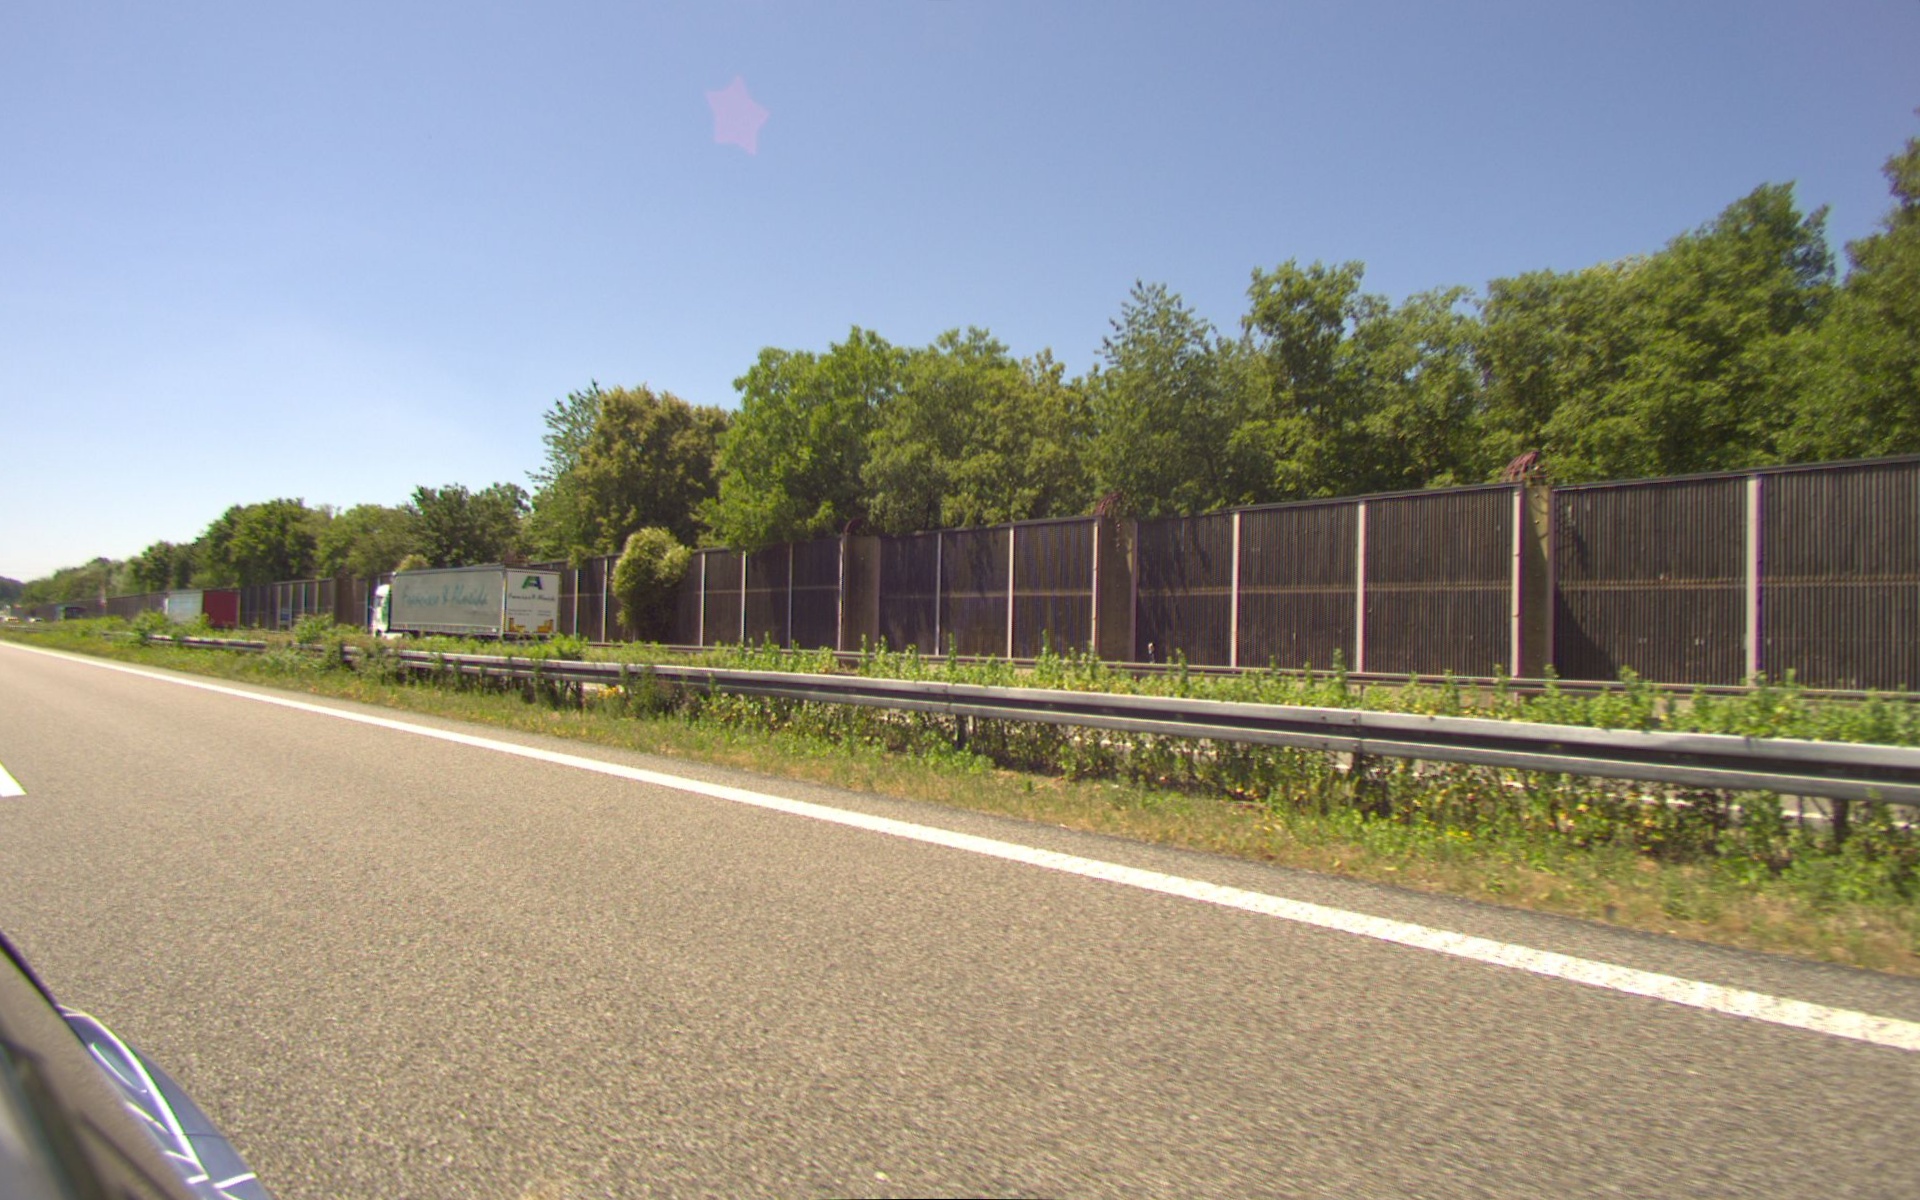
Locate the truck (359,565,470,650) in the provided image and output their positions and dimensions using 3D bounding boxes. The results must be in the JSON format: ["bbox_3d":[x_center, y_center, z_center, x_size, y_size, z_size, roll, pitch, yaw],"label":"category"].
[{"bbox_3d":[-28.812,0.457,53.336,7.140,4.215,2.803,-1,-3,42],"label":"truck"}]

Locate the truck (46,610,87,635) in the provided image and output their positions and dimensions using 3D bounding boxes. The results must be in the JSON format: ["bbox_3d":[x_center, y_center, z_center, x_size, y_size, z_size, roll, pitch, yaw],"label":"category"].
[{"bbox_3d":[-135.081,3.412,152.935,12.365,3.703,3.057,-1,-3,42],"label":"truck"}]

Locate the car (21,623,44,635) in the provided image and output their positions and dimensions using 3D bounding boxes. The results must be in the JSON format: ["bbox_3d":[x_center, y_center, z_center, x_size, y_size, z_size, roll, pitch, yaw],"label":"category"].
[{"bbox_3d":[-134.089,4.171,146.314,4.492,1.602,1.972,-1,-3,43],"label":"car"}]

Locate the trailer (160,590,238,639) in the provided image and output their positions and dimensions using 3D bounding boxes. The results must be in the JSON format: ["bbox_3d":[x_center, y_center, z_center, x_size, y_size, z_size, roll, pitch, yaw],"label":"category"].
[{"bbox_3d":[-67.653,1.321,89.773,14.301,4.053,2.705,-1,-2,42],"label":"trailer"}]

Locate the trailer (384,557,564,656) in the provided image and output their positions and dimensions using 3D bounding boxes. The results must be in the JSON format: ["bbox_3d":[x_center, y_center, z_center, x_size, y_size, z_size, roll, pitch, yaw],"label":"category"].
[{"bbox_3d":[-23.690,0.388,48.719,13.308,4.215,2.879,-1,-3,42],"label":"trailer"}]
